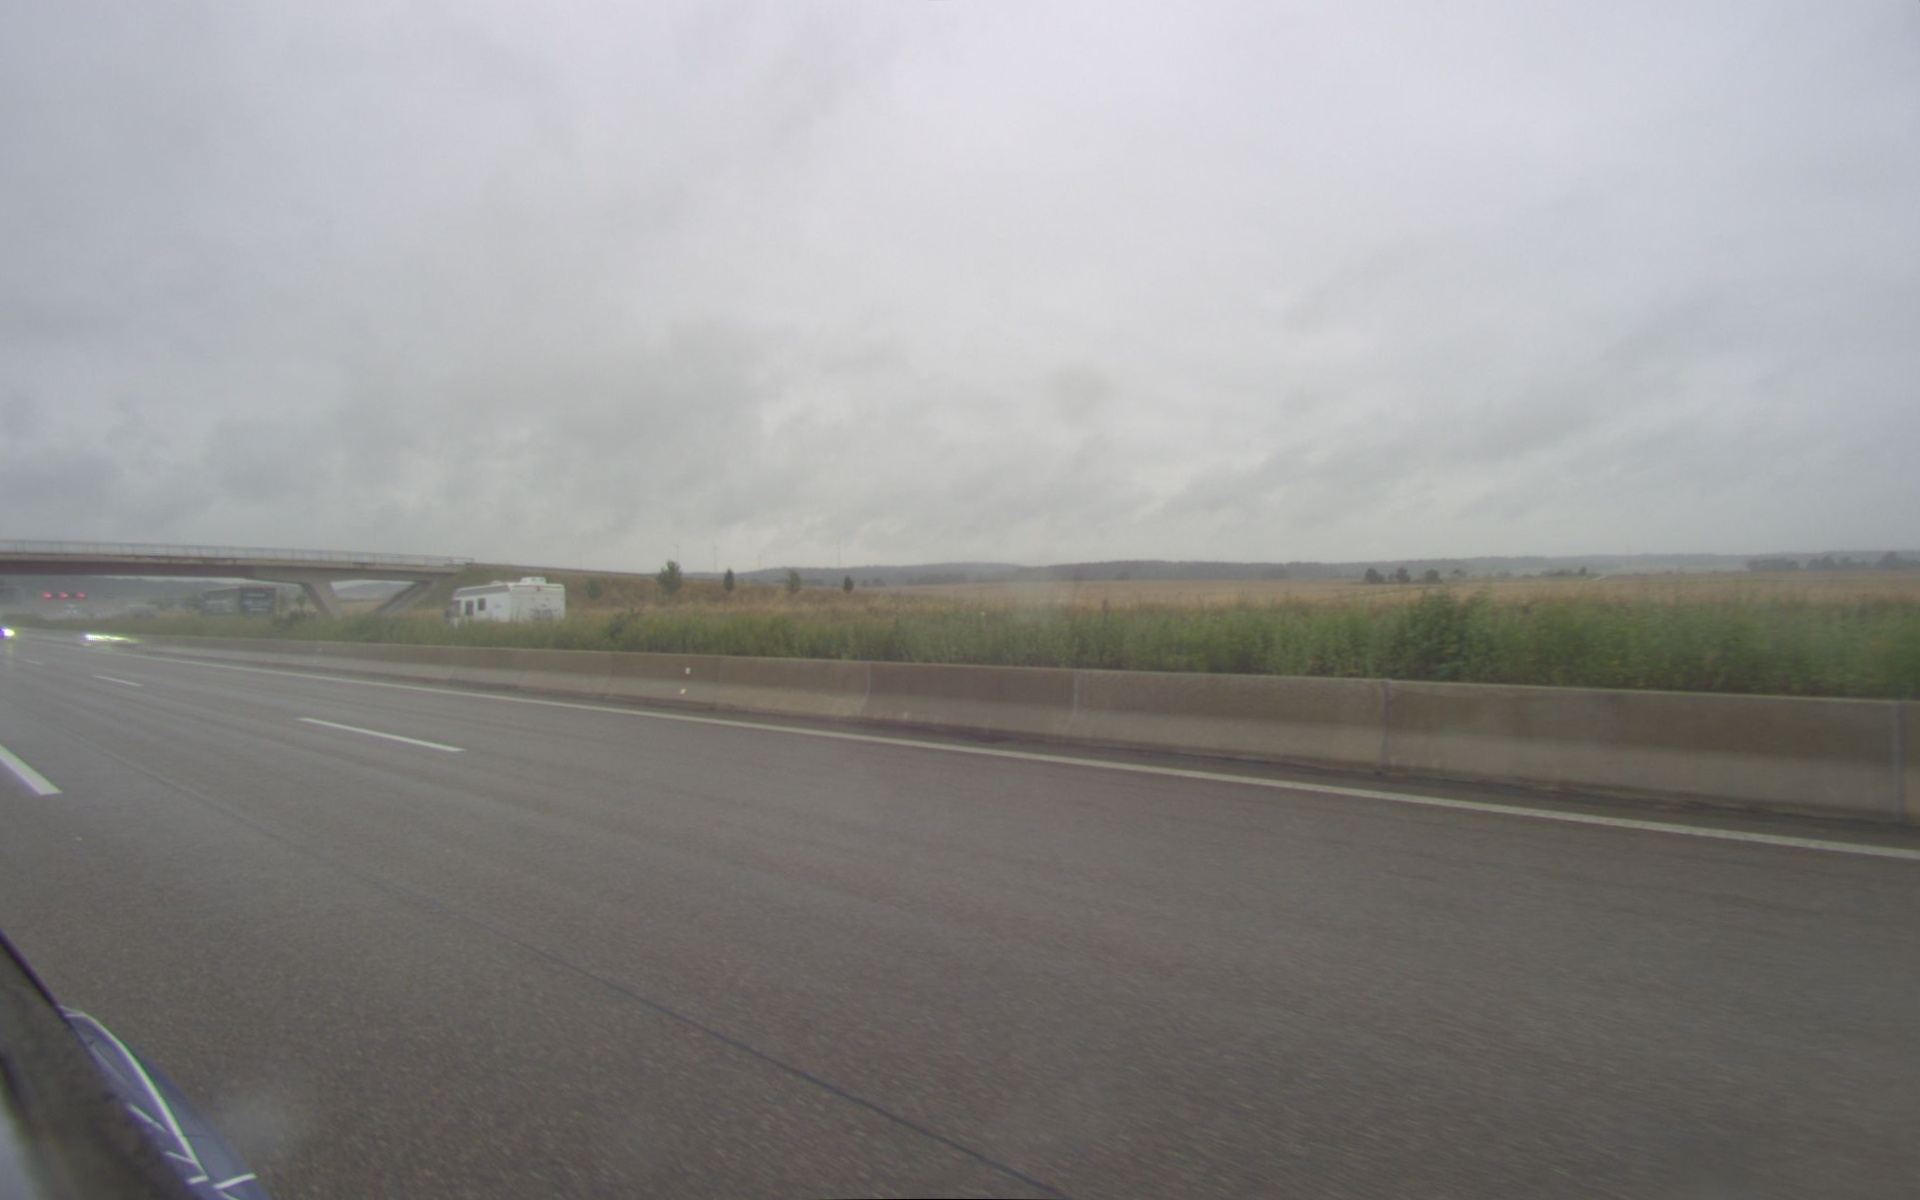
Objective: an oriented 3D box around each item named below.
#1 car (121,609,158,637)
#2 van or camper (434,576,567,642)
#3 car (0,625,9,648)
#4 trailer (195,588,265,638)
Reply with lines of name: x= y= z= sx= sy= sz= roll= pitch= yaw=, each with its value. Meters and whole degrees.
car: x=-82.714 y=2.296 z=101.958 sx=2.467 sy=2.727 sz=6.212 roll=0 pitch=-1 yaw=-43
van or camper: x=-19.001 y=0.421 z=41.649 sx=6.752 sy=2.527 sz=2.349 roll=-2 pitch=-1 yaw=41
car: x=-69.303 y=2.637 z=72.275 sx=3.732 sy=1.564 sz=1.679 roll=-1 pitch=0 yaw=41
trailer: x=-63.389 y=1.209 z=87.680 sx=14.206 sy=4.027 sz=2.200 roll=-1 pitch=-2 yaw=43
